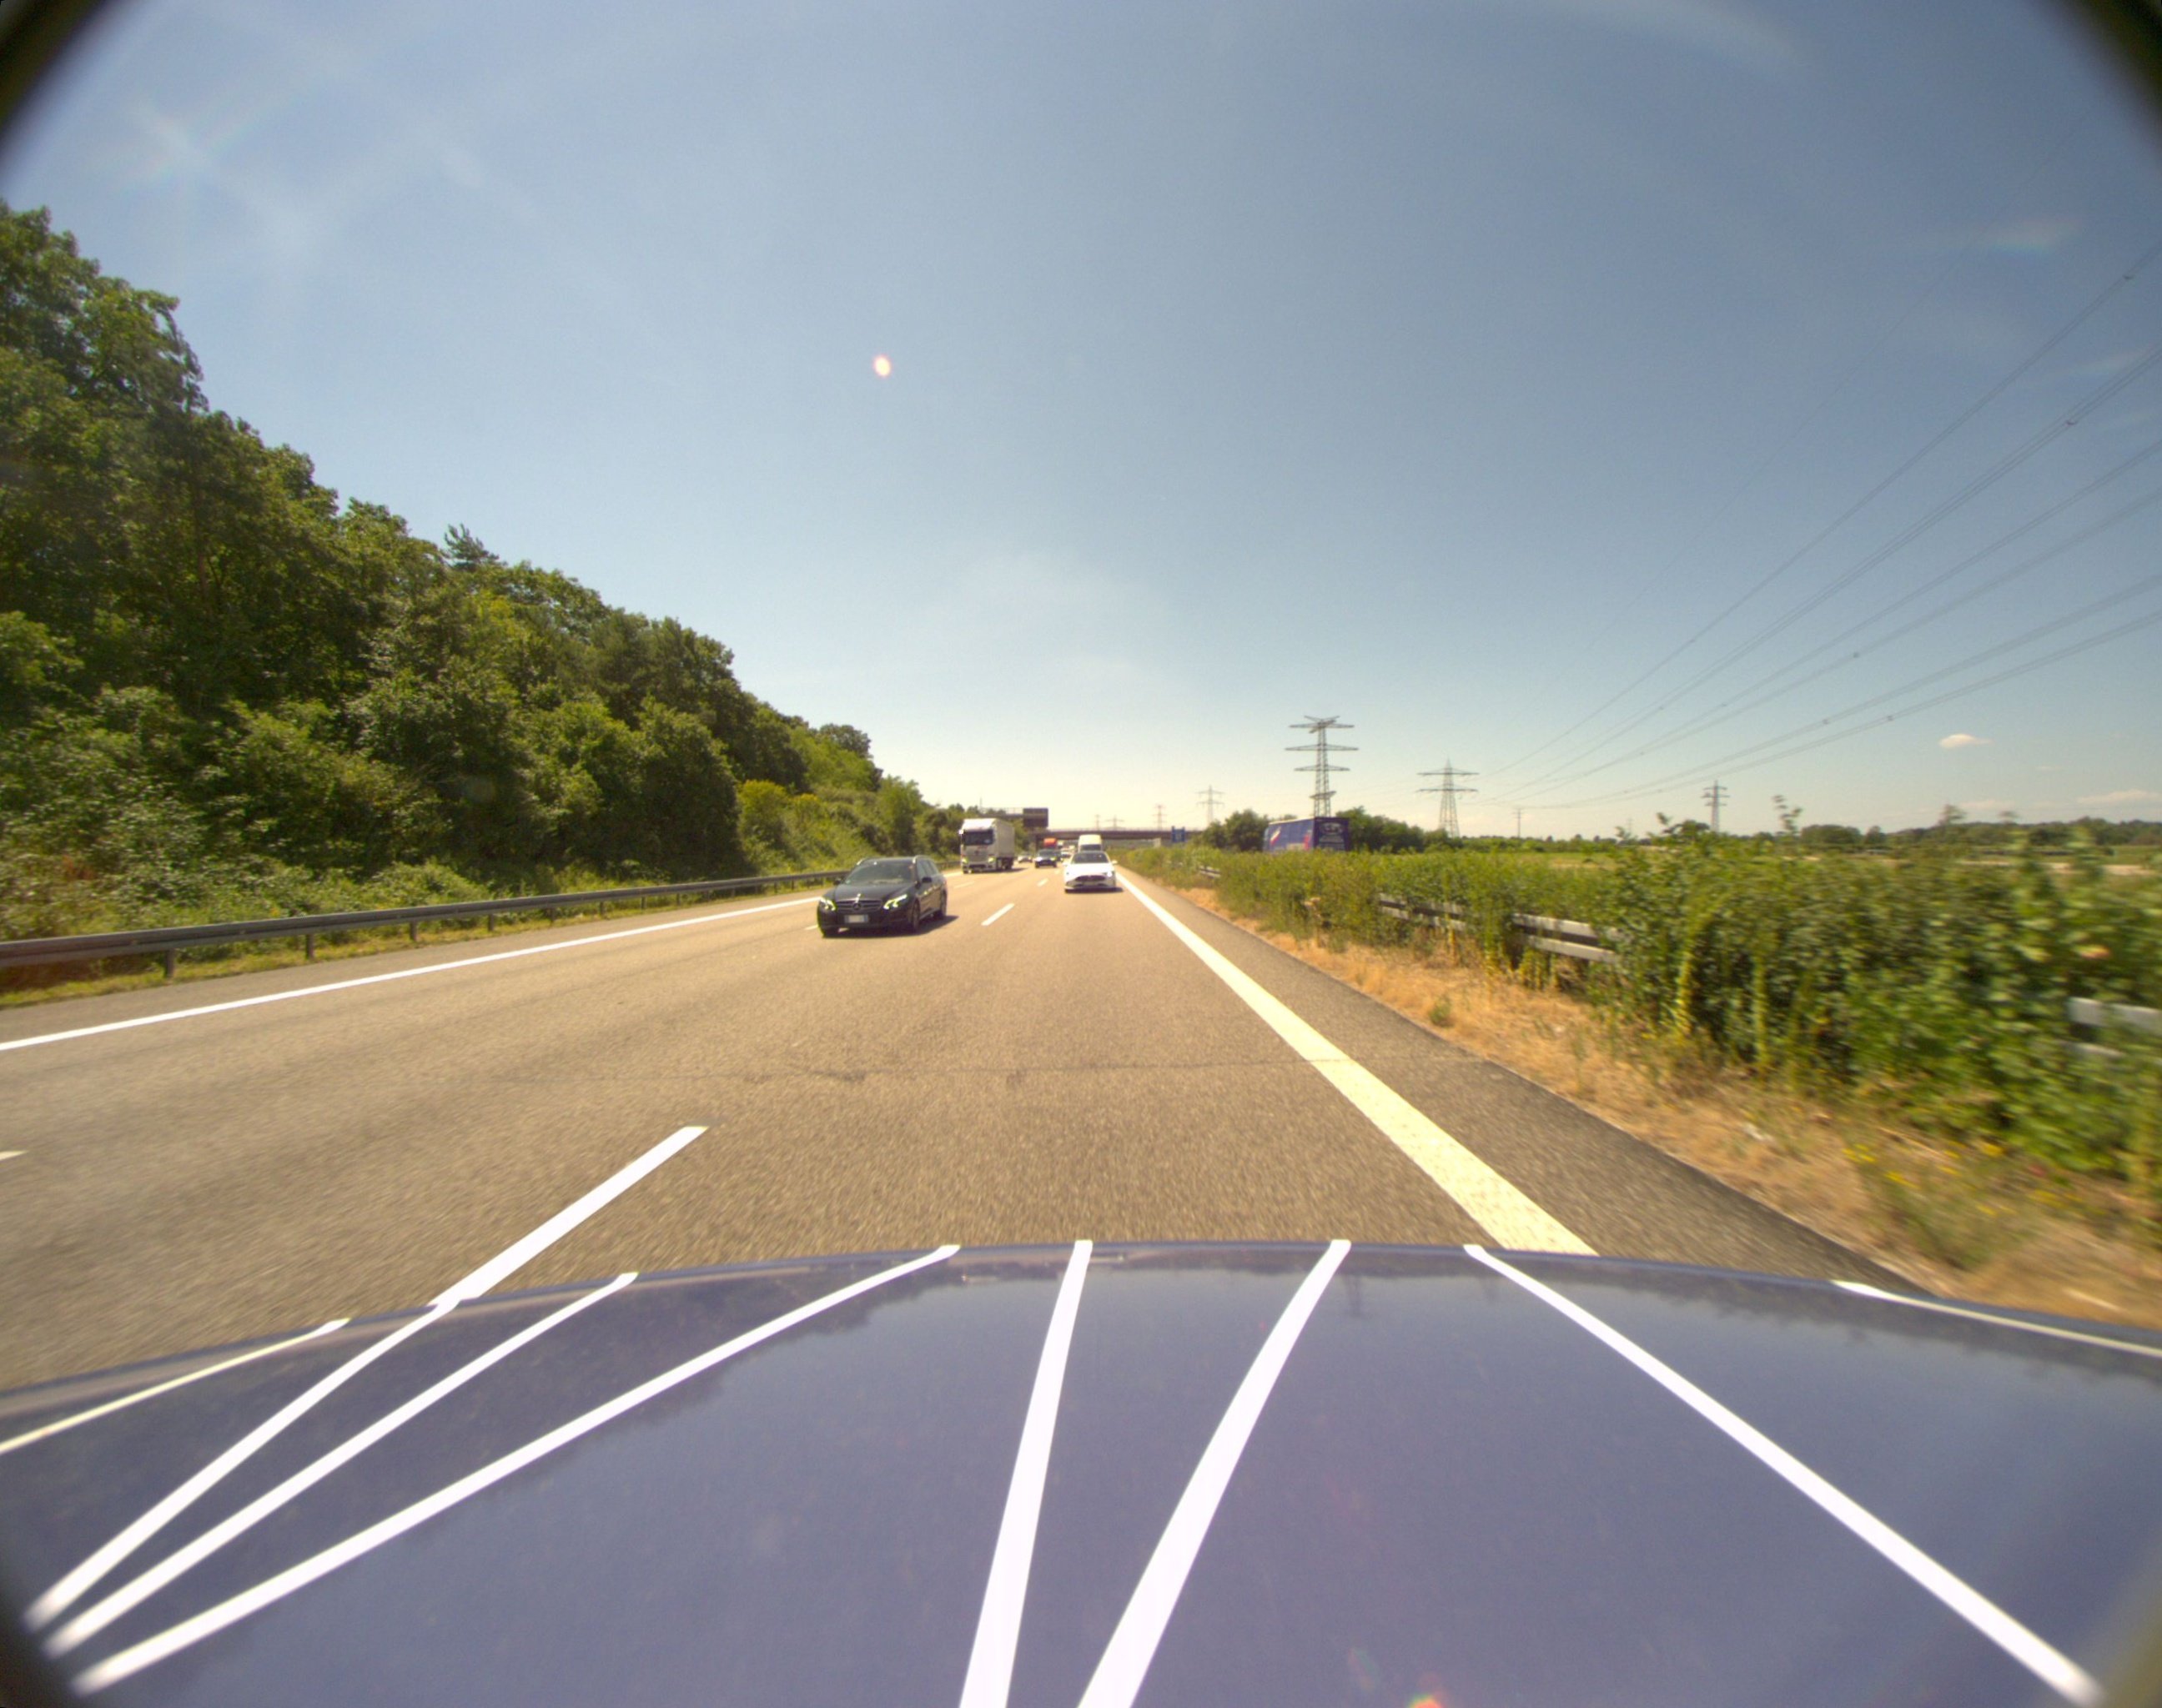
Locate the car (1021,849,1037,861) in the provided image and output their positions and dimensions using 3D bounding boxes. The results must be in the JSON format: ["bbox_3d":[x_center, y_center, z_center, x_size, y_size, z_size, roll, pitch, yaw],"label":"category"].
[{"bbox_3d":[-6.864,0.105,100.515,1.840,1.404,4.557,-2,1,-1],"label":"car"}]

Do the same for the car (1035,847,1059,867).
[{"bbox_3d":[-3.034,0.260,68.952,1.984,1.671,4.557,-1,1,-1],"label":"car"}]

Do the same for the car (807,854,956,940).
[{"bbox_3d":[-4.082,0.801,16.420,1.846,1.497,4.737,-3,0,1],"label":"car"}]

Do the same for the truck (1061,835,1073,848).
[{"bbox_3d":[-4.486,-3.936,238.091,3.507,3.891,9.645,-1,1,-2],"label":"truck"}]

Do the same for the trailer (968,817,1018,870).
[{"bbox_3d":[-7.320,-0.892,65.119,2.736,4.079,13.186,-1,1,-1],"label":"trailer"}]

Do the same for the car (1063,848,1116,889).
[{"bbox_3d":[0.308,0.536,31.520,1.984,1.525,4.557,-1,1,-1],"label":"car"}]

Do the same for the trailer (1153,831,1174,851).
[{"bbox_3d":[18.569,-2.976,172.574,3.376,4.383,14.318,1,1,1],"label":"trailer"}]

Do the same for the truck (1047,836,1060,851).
[{"bbox_3d":[-6.158,-2.273,169.124,2.582,3.205,5.712,-3,1,-1],"label":"truck"}]

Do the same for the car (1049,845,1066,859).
[{"bbox_3d":[-2.801,-0.238,93.133,1.984,1.671,4.557,0,1,-1],"label":"car"}]

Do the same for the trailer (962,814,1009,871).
[{"bbox_3d":[-7.255,-0.856,58.588,2.720,4.079,6.787,-1,1,0],"label":"trailer"}]

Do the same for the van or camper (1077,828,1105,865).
[{"bbox_3d":[0.812,-0.616,60.051,1.998,2.741,5.409,-2,1,2],"label":"van or camper"}]

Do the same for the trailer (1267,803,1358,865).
[{"bbox_3d":[18.381,-1.522,61.721,3.095,4.382,14.229,1,1,1],"label":"trailer"}]

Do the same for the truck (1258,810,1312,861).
[{"bbox_3d":[18.469,-1.607,69.273,3.095,4.382,6.800,1,1,1],"label":"truck"}]

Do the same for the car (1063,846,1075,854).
[{"bbox_3d":[-2.140,-0.725,136.052,1.984,1.525,4.136,-1,1,-1],"label":"car"}]
